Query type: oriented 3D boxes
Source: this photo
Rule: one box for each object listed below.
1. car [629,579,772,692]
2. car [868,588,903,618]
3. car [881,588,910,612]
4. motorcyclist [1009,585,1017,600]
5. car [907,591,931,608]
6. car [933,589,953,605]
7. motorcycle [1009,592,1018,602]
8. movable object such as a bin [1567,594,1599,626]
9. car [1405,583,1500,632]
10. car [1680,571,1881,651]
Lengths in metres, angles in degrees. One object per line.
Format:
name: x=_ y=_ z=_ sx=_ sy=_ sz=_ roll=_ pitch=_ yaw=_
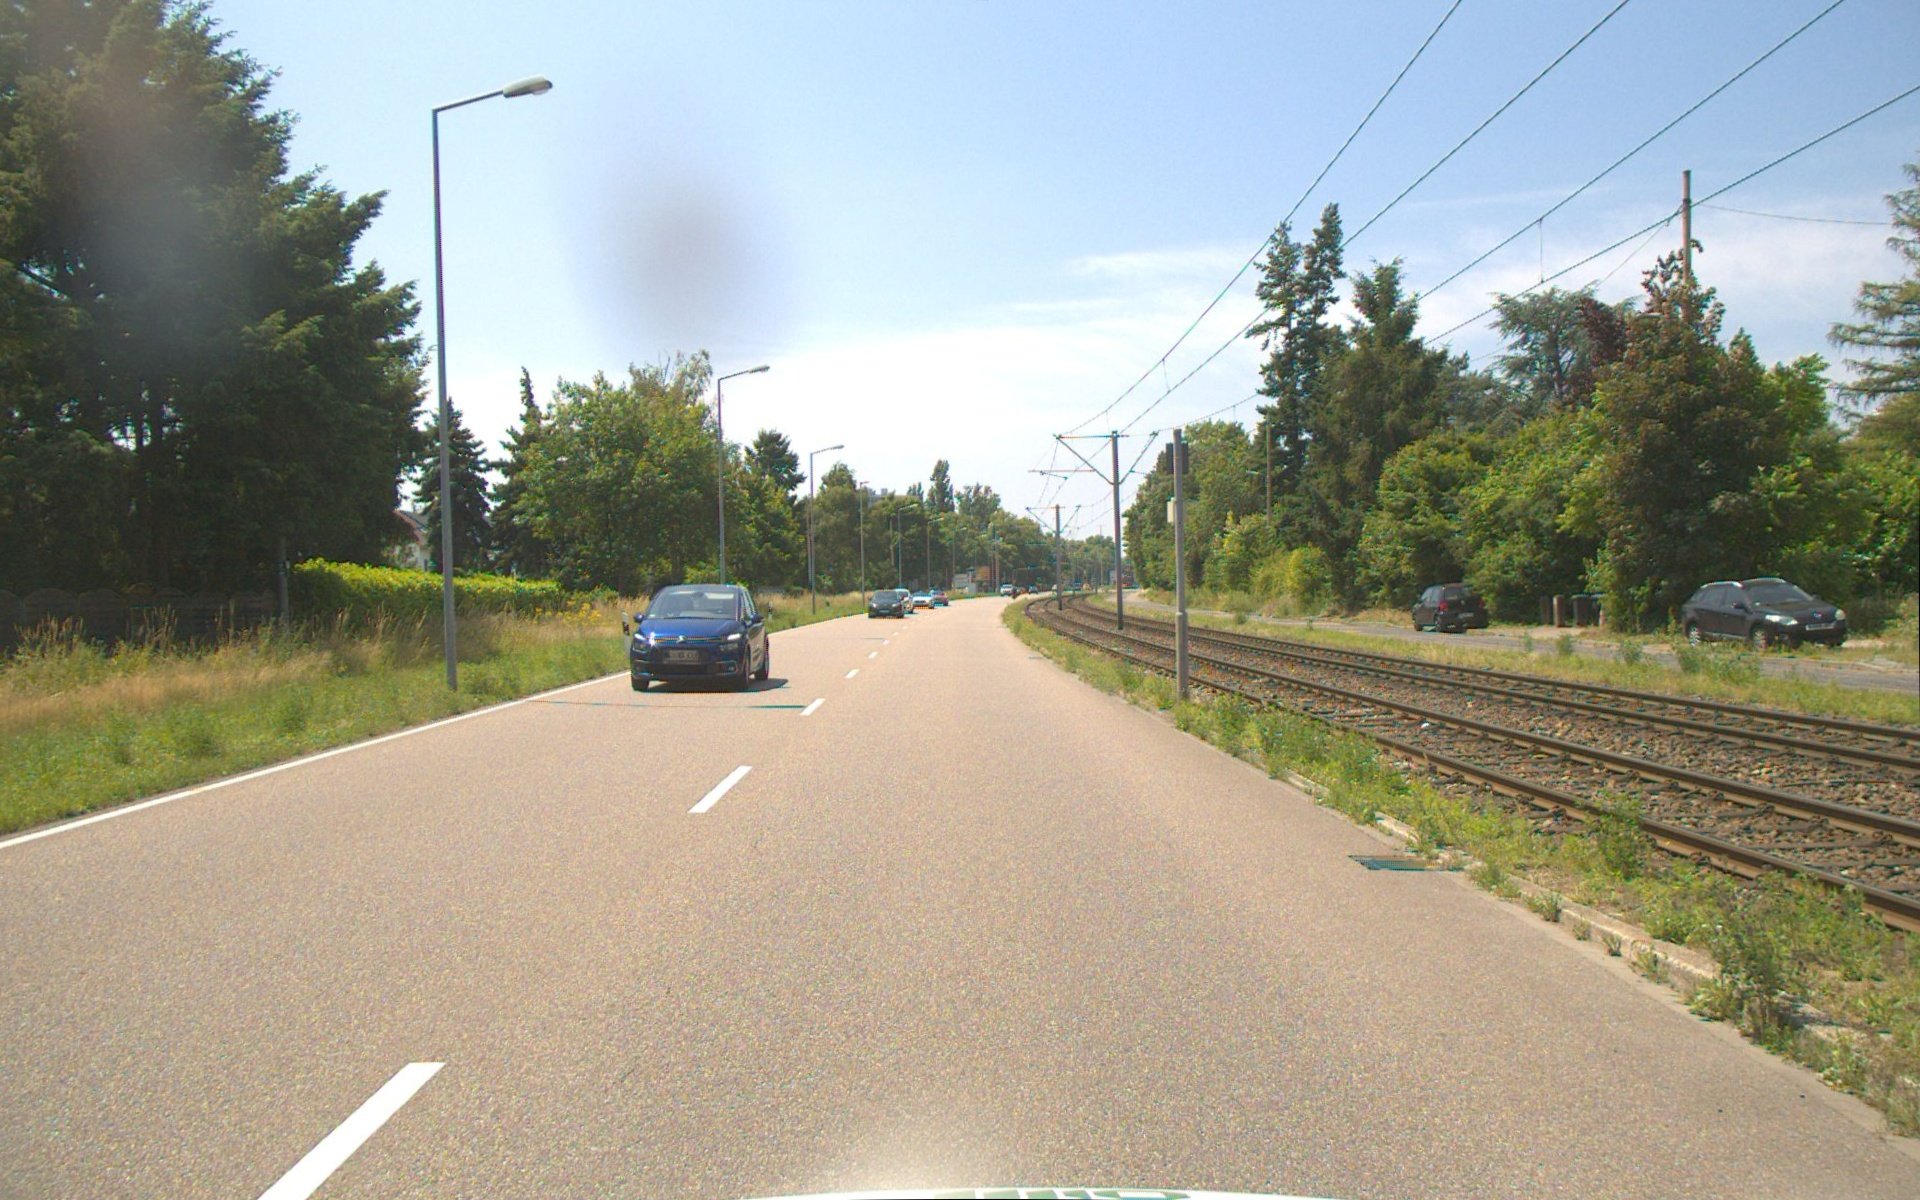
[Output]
car: x=-4.079 y=0.524 z=26.572 sx=1.711 sy=1.660 sz=4.029 roll=0 pitch=0 yaw=-1
car: x=-3.956 y=0.157 z=88.016 sx=1.665 sy=1.517 sz=4.440 roll=0 pitch=0 yaw=0
car: x=-4.077 y=-0.005 z=105.252 sx=1.711 sy=1.529 sz=3.707 roll=0 pitch=0 yaw=0
motorcyclist: x=6.721 y=-0.940 z=209.036 sx=0.873 sy=1.938 sz=1.016 roll=0 pitch=0 yaw=4
car: x=-3.073 y=-0.064 z=124.849 sx=1.648 sy=1.271 sz=3.909 roll=0 pitch=0 yaw=0
car: x=-1.453 y=-0.259 z=143.568 sx=1.713 sy=1.324 sz=4.253 roll=0 pitch=0 yaw=0
motorcycle: x=6.737 y=-0.381 z=208.972 sx=0.949 sy=1.137 sz=2.734 roll=0 pitch=0 yaw=4
movable object such as a bin: x=18.408 y=0.289 z=48.886 sx=0.709 sy=0.953 sz=0.621 roll=0 pitch=0 yaw=0
car: x=15.889 y=0.232 z=53.531 sx=1.875 sy=1.496 sz=4.000 roll=0 pitch=0 yaw=0
car: x=17.483 y=0.217 z=35.532 sx=1.896 sy=1.588 sz=4.554 roll=0 pitch=0 yaw=-3
